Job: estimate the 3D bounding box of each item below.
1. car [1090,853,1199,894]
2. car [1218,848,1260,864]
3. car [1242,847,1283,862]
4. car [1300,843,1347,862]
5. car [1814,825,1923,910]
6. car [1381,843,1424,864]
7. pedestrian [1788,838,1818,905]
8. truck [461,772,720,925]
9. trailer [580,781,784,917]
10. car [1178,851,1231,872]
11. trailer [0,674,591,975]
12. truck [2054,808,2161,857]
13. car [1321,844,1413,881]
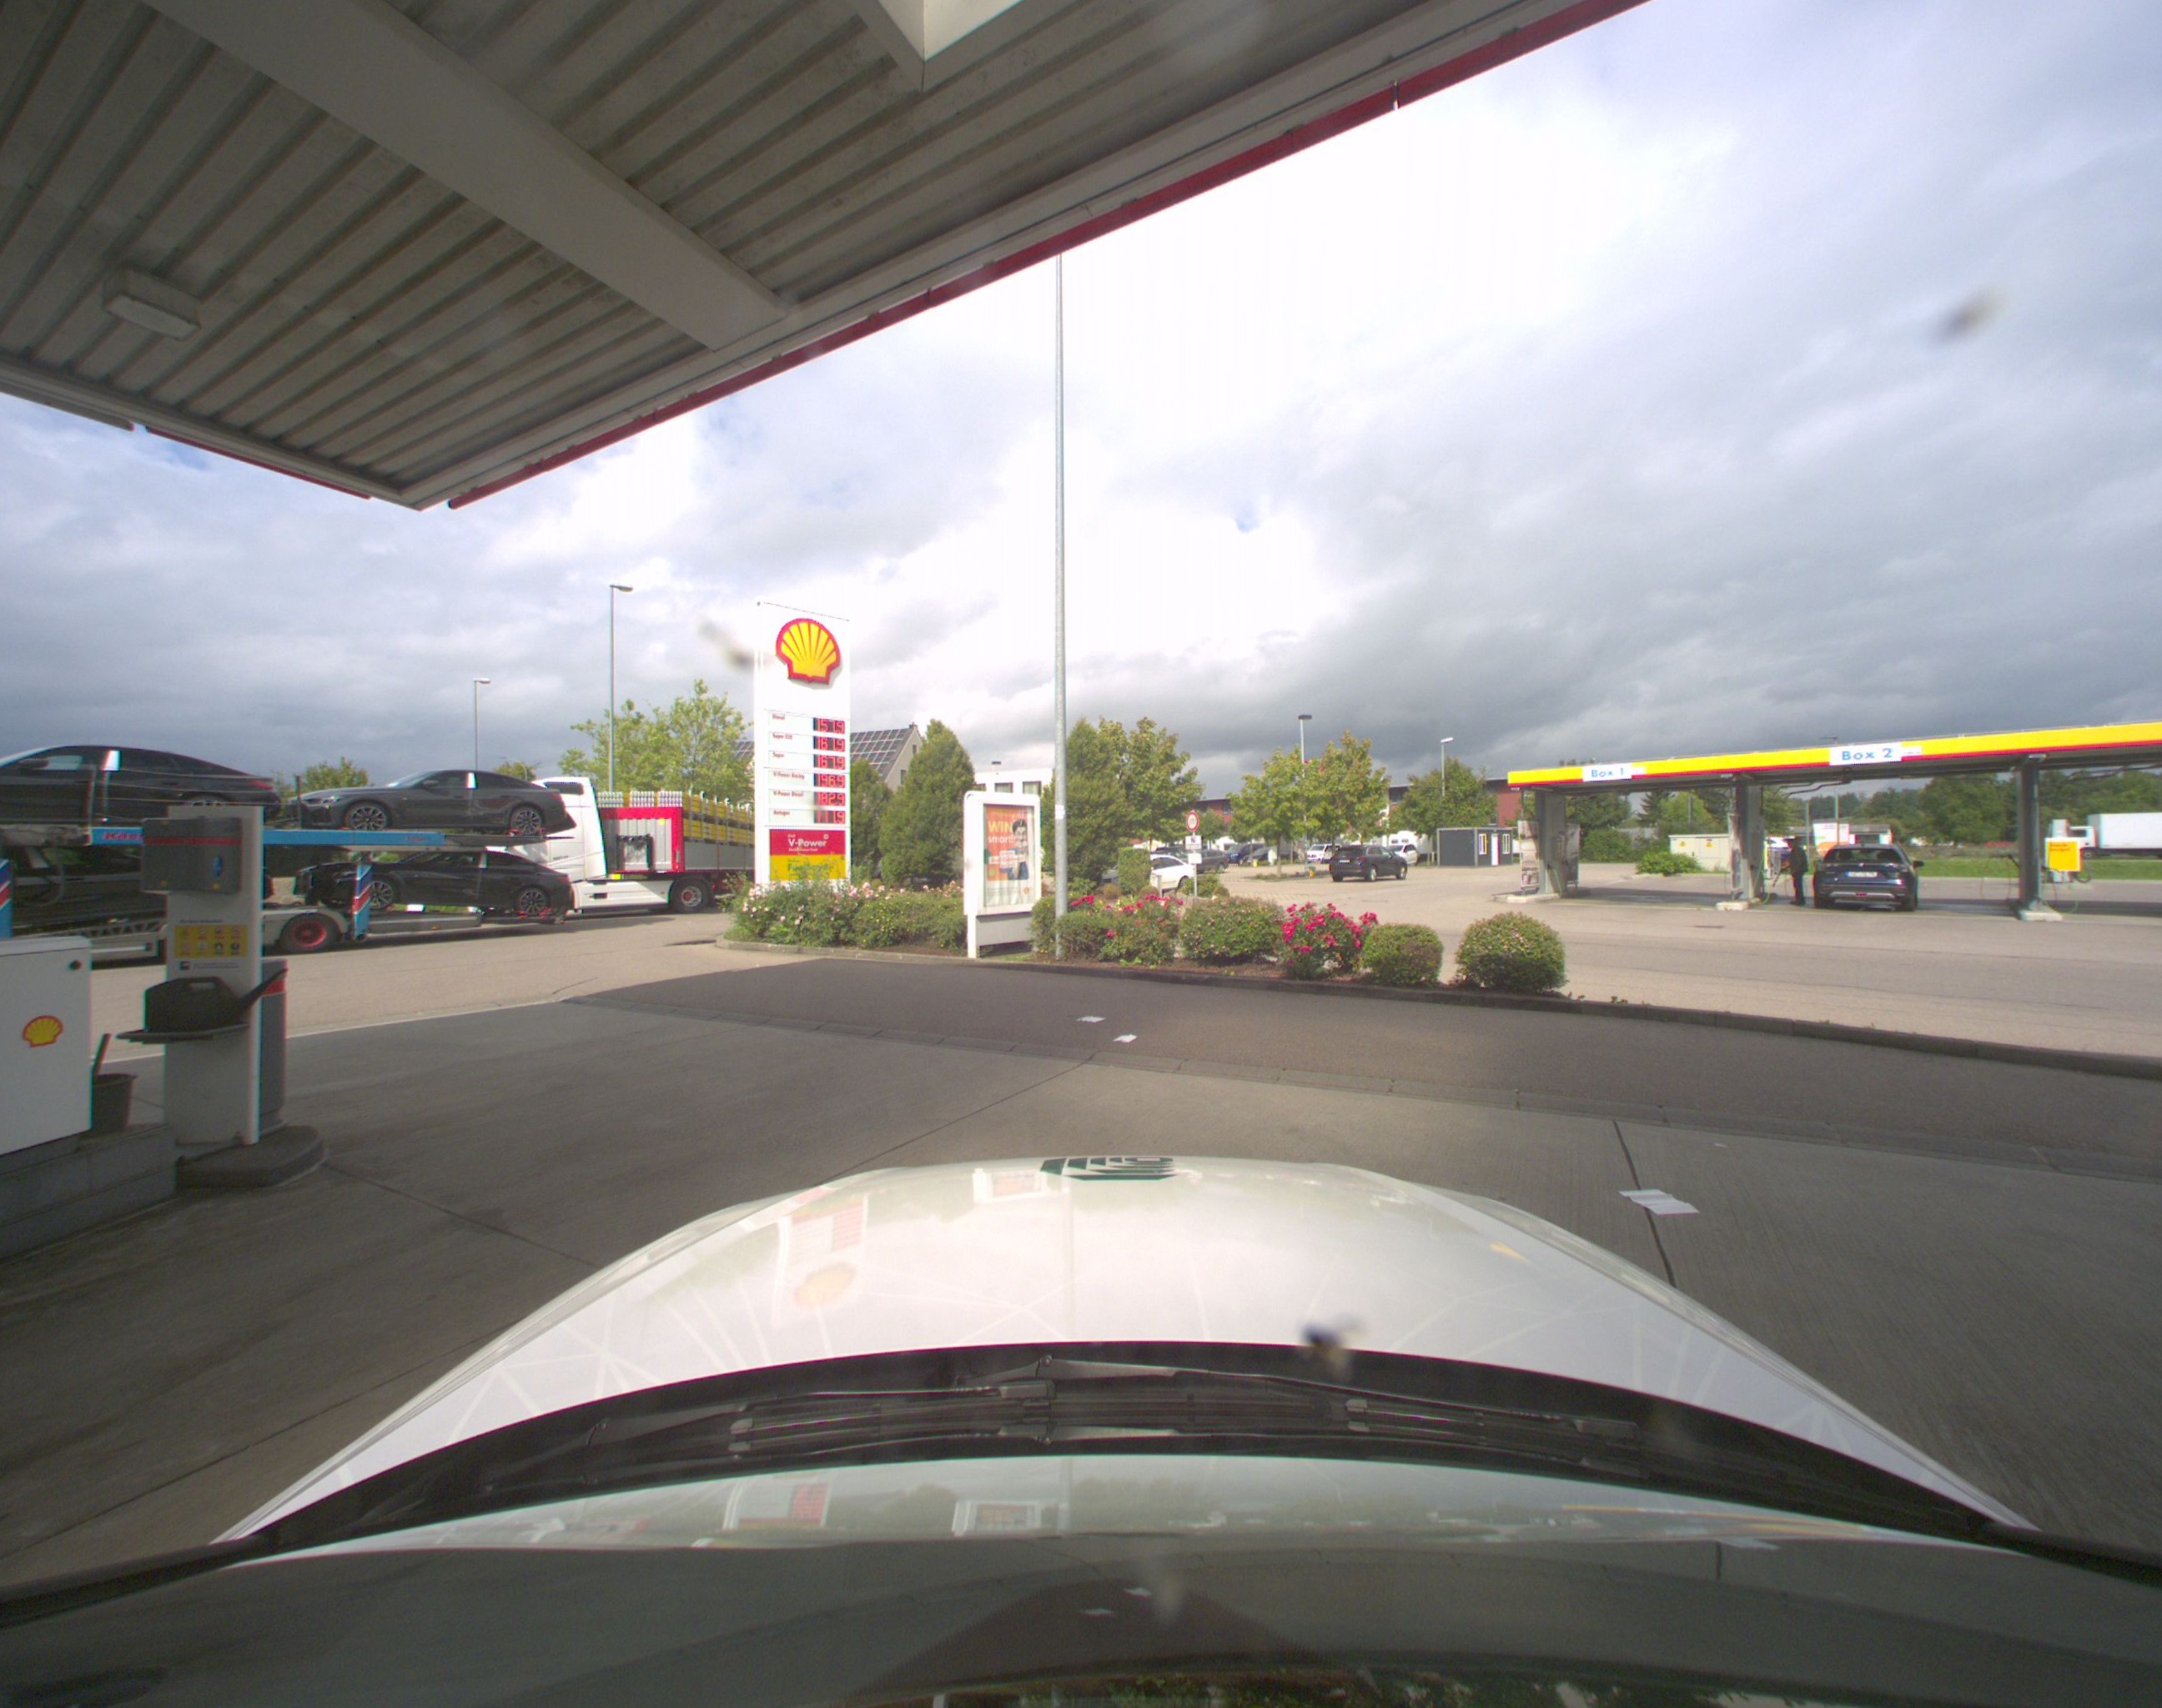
[{"bbox_3d":[2.395,0.682,30.006,4.368,1.404,1.354,0,-1,-42],"label":"car"},{"bbox_3d":[12.955,0.181,66.644,3.407,1.320,1.726,0,-1,-42],"label":"car"},{"bbox_3d":[14.497,0.034,64.860,3.437,1.179,1.468,0,-1,-42],"label":"car"},{"bbox_3d":[23.880,-0.122,80.252,4.903,1.833,2.159,0,-1,-41],"label":"car"},{"bbox_3d":[19.439,0.316,20.059,3.828,1.897,1.703,0,-1,-43],"label":"car"},{"bbox_3d":[20.611,-0.047,52.199,3.120,1.307,1.352,0,-1,-42],"label":"car"},{"bbox_3d":[18.779,0.457,21.193,0.551,1.722,0.531,-1,-1,40],"label":"pedestrian"},{"bbox_3d":[-13.975,-0.132,23.510,5.952,3.846,2.708,0,-1,-44],"label":"truck"},{"bbox_3d":[-13.483,-0.088,29.167,2.729,3.776,12.677,0,-1,-8],"label":"trailer"},{"bbox_3d":[7.543,0.448,49.690,3.245,1.228,1.488,0,-1,-42],"label":"car"},{"bbox_3d":[-16.435,-0.415,13.672,2.711,4.423,14.450,-1,-1,31],"label":"trailer"},{"bbox_3d":[78.235,-1.555,59.986,7.989,3.534,2.714,-1,-1,41],"label":"truck"},{"bbox_3d":[12.878,0.374,36.564,4.527,1.548,1.864,0,-1,-41],"label":"car"}]
